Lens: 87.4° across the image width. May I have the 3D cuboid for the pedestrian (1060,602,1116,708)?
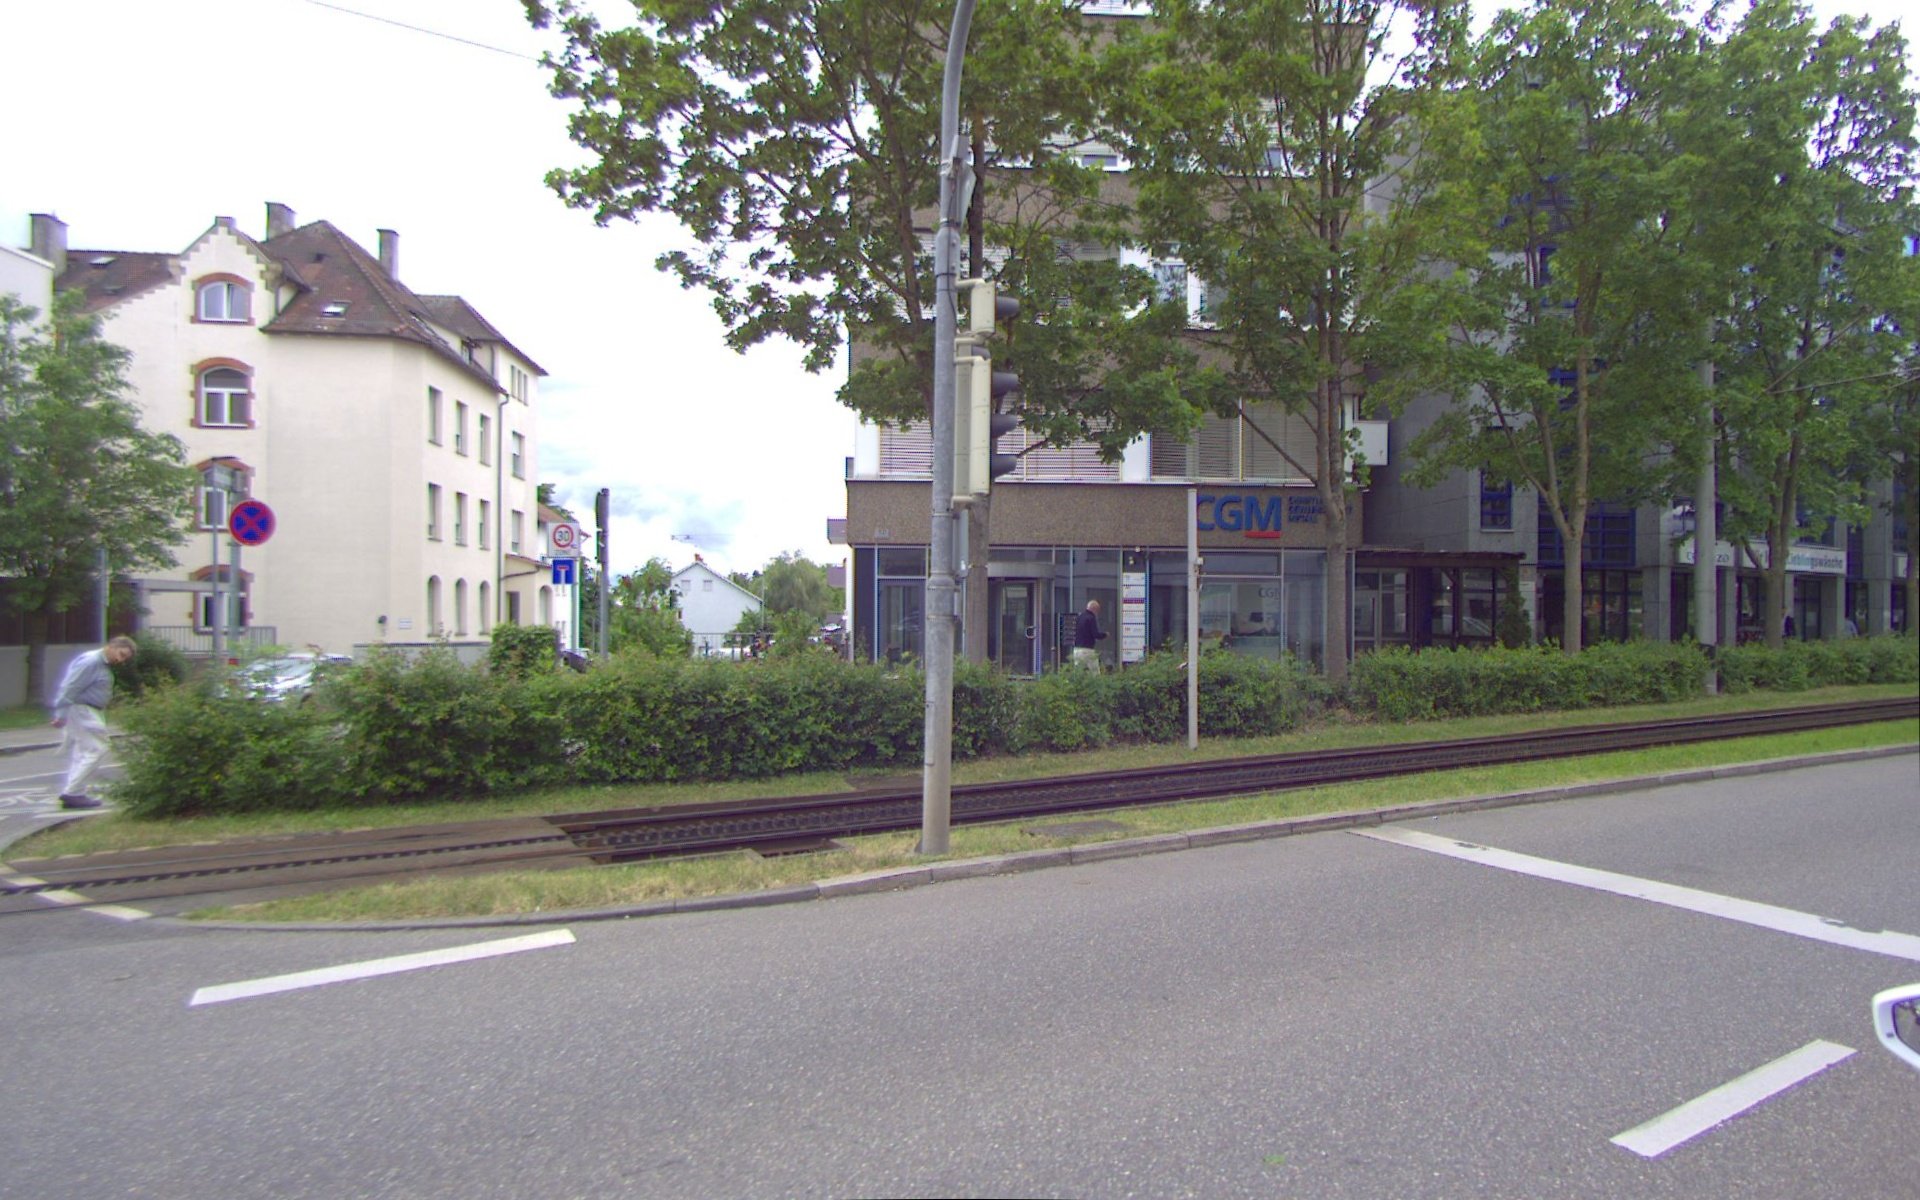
[{"bbox_3d":[2.162,0.923,16.958,0.674,1.728,0.685,1,-2,-27],"label":"pedestrian"}]

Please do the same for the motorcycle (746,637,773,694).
[{"bbox_3d":[-4.507,1.445,22.670,0.558,1.214,1.882,0,-1,-10],"label":"motorcycle"}]

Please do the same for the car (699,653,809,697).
[{"bbox_3d":[-7.662,2.801,37.715,3.927,1.594,1.853,1,-3,-8],"label":"car"}]

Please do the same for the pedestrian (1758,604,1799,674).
[{"bbox_3d":[22.938,1.091,28.166,0.614,1.933,0.672,1,-2,-28],"label":"pedestrian"}]

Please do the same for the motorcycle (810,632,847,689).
[{"bbox_3d":[-2.924,1.310,22.230,0.559,1.214,1.879,1,-1,-15],"label":"motorcycle"}]

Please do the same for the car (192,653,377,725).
[{"bbox_3d":[-14.122,1.817,21.282,1.612,1.377,3.996,1,-3,-8],"label":"car"}]

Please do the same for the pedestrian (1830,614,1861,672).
[{"bbox_3d":[31.662,1.542,35.923,0.564,2.040,0.678,1,-2,-29],"label":"pedestrian"}]

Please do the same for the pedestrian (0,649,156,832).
[{"bbox_3d":[-8.010,1.220,9.092,0.984,1.546,0.844,1,-3,-30],"label":"pedestrian"}]
